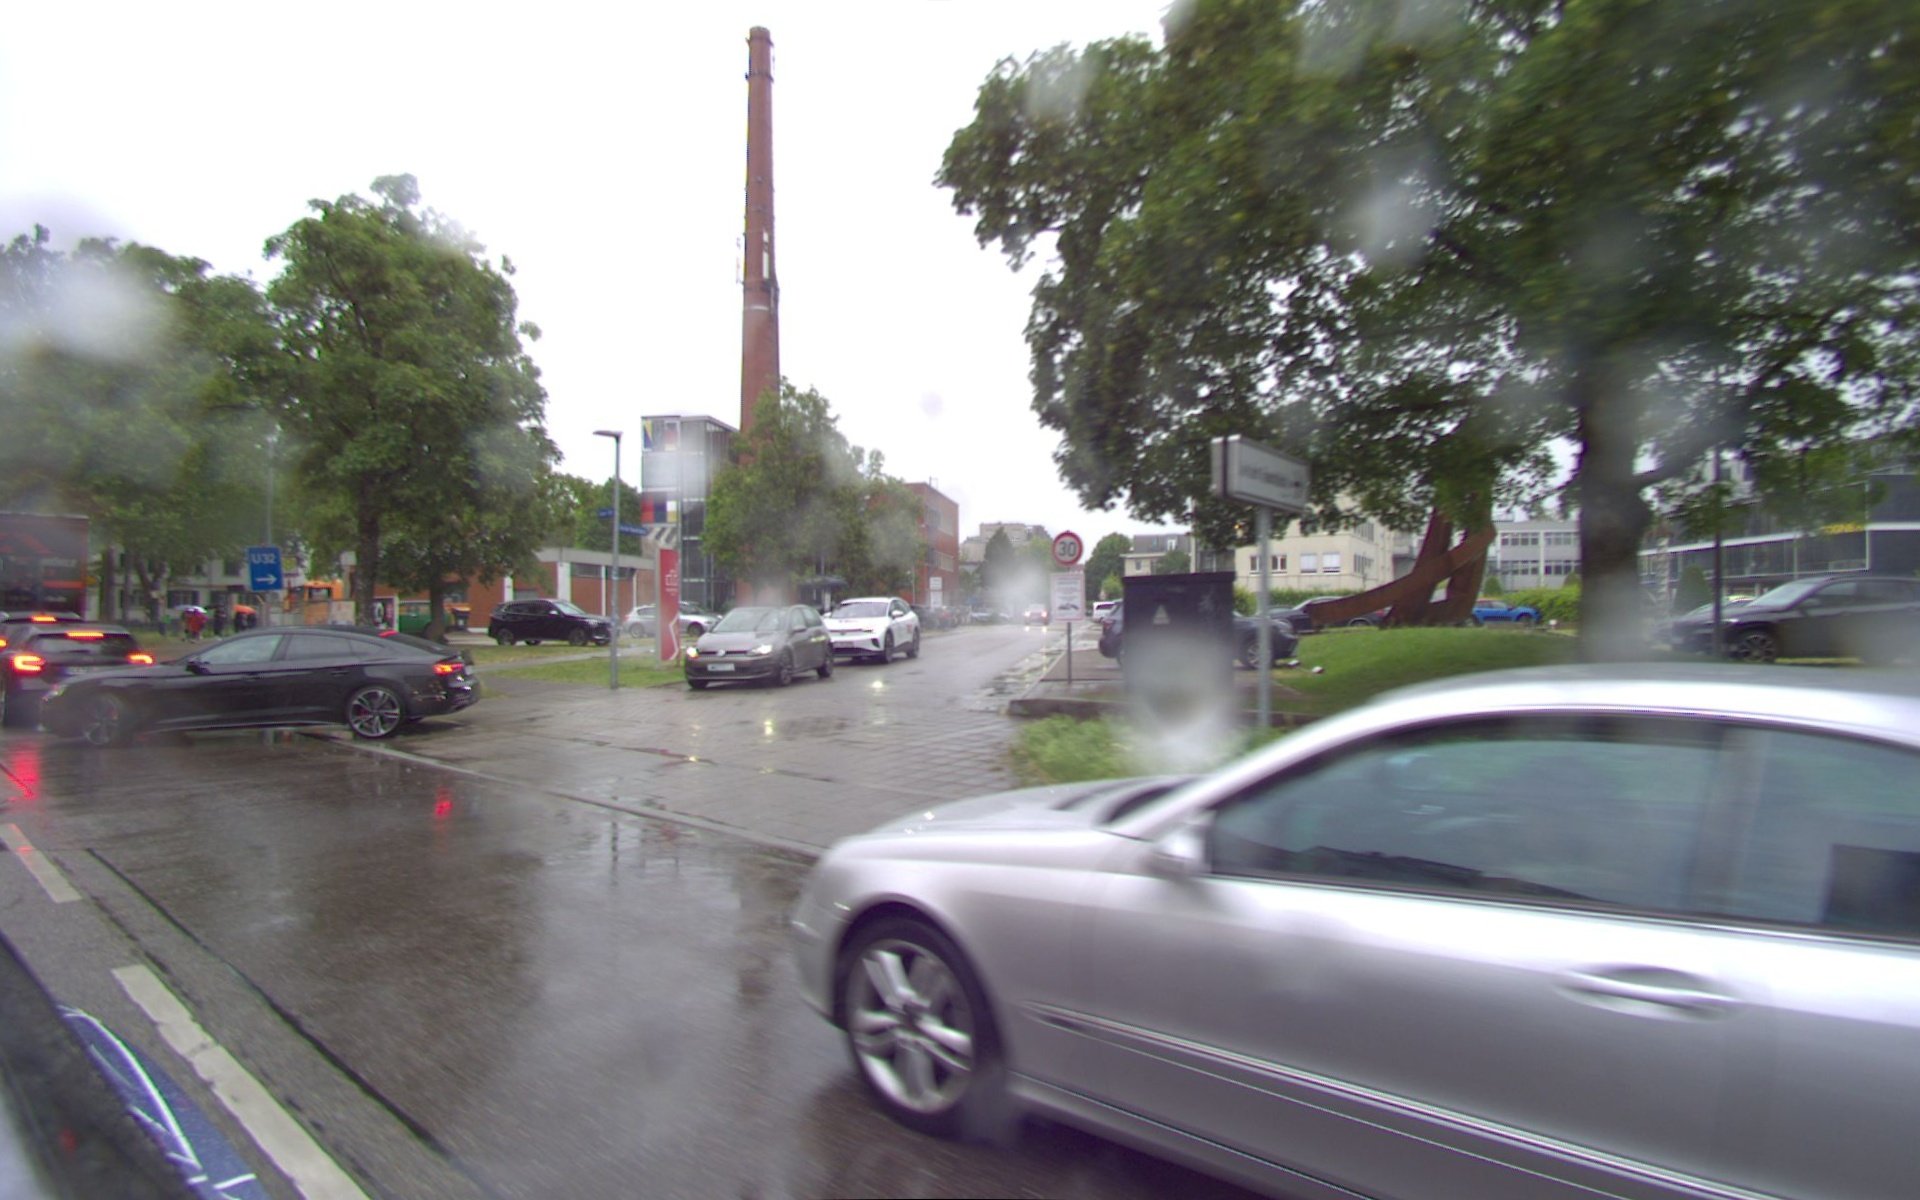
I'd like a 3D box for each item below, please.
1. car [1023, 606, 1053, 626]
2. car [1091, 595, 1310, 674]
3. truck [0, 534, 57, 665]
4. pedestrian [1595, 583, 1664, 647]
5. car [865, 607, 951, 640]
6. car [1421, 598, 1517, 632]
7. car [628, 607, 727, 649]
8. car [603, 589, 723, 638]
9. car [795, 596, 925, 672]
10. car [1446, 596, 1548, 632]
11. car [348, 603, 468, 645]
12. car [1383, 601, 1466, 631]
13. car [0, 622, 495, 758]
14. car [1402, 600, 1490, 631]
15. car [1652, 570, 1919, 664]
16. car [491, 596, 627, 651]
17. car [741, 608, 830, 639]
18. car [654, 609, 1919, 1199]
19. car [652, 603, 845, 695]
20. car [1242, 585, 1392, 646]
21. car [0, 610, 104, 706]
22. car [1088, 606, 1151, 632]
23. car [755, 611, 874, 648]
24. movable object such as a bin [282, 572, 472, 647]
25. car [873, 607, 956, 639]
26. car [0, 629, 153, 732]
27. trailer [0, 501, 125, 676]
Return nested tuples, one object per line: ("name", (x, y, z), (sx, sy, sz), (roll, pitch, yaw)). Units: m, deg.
("car", (6.712, 1.346, 86.597), (1.980, 1.587, 3.984), (-1, -1, 12))
("car", (4.942, 0.739, 21.167), (4.255, 1.521, 1.783), (-1, -2, 12))
("truck", (-32.895, 0.052, 33.700), (6.970, 4.109, 3.414), (-2, -1, 41))
("pedestrian", (19.865, 0.441, 30.089), (1.472, 1.854, 1.061), (-1, -1, 22))
("car", (-2.898, 1.285, 56.532), (4.531, 1.750, 1.996), (-1, -1, 7))
("car", (26.418, 0.795, 52.628), (3.954, 1.627, 1.995), (-2, -2, 8))
("car", (-13.018, 1.299, 46.755), (3.959, 1.806, 1.992), (-2, -2, 13))
("car", (-12.925, 0.605, 44.159), (4.620, 2.029, 1.996), (-1, -1, 7))
("car", (-2.382, 0.799, 25.423), (2.024, 1.719, 4.632), (-1, -1, 11))
("car", (26.601, 0.726, 50.247), (3.954, 1.627, 1.995), (-2, -2, 8))
("car", (-22.420, 0.964, 41.137), (3.938, 1.613, 2.003), (0, -2, -41))
("car", (27.230, 0.955, 59.479), (3.954, 1.627, 1.995), (-2, -2, 8))
("car", (-8.727, 1.037, 12.898), (4.844, 1.465, 2.092), (0, -1, -17))
("car", (27.255, 0.884, 56.860), (3.954, 1.627, 1.995), (-2, -2, 8))
("car", (15.114, 0.307, 17.795), (4.392, 1.538, 1.990), (-1, -1, 15))
("car", (-13.831, 0.818, 35.018), (3.956, 1.804, 1.994), (-1, -1, 10))
("car", (-10.352, 1.375, 60.112), (4.754, 1.754, 2.162), (-1, -1, 11))
("car", (1.399, 0.746, 2.490), (4.826, 1.414, 1.757), (-1, 0, 40))
("car", (-3.708, 0.807, 18.634), (1.991, 1.405, 4.326), (-1, 1, 10))
("car", (13.218, 0.593, 37.783), (4.918, 2.167, 1.994), (-1, -1, 10))
("car", (-18.799, 1.069, 20.321), (4.802, 1.631, 1.847), (1, 0, 42))
("car", (12.932, 1.580, 82.331), (4.892, 2.029, 1.996), (-1, -1, 7))
("car", (-5.618, 1.148, 39.219), (4.261, 1.389, 1.618), (-1, -1, 10))
("movable object such as a bin", (-24.672, 0.377, 42.987), (6.669, 2.953, 2.780), (0, -1, -39))
("car", (-2.613, 1.334, 58.692), (4.531, 1.750, 1.996), (-1, -1, 7))
("car", (-13.920, 1.141, 15.585), (4.337, 1.371, 1.708), (-2, -2, 43))
("trailer", (-27.669, -0.109, 29.050), (15.044, 4.080, 3.406), (-2, -2, 42))
